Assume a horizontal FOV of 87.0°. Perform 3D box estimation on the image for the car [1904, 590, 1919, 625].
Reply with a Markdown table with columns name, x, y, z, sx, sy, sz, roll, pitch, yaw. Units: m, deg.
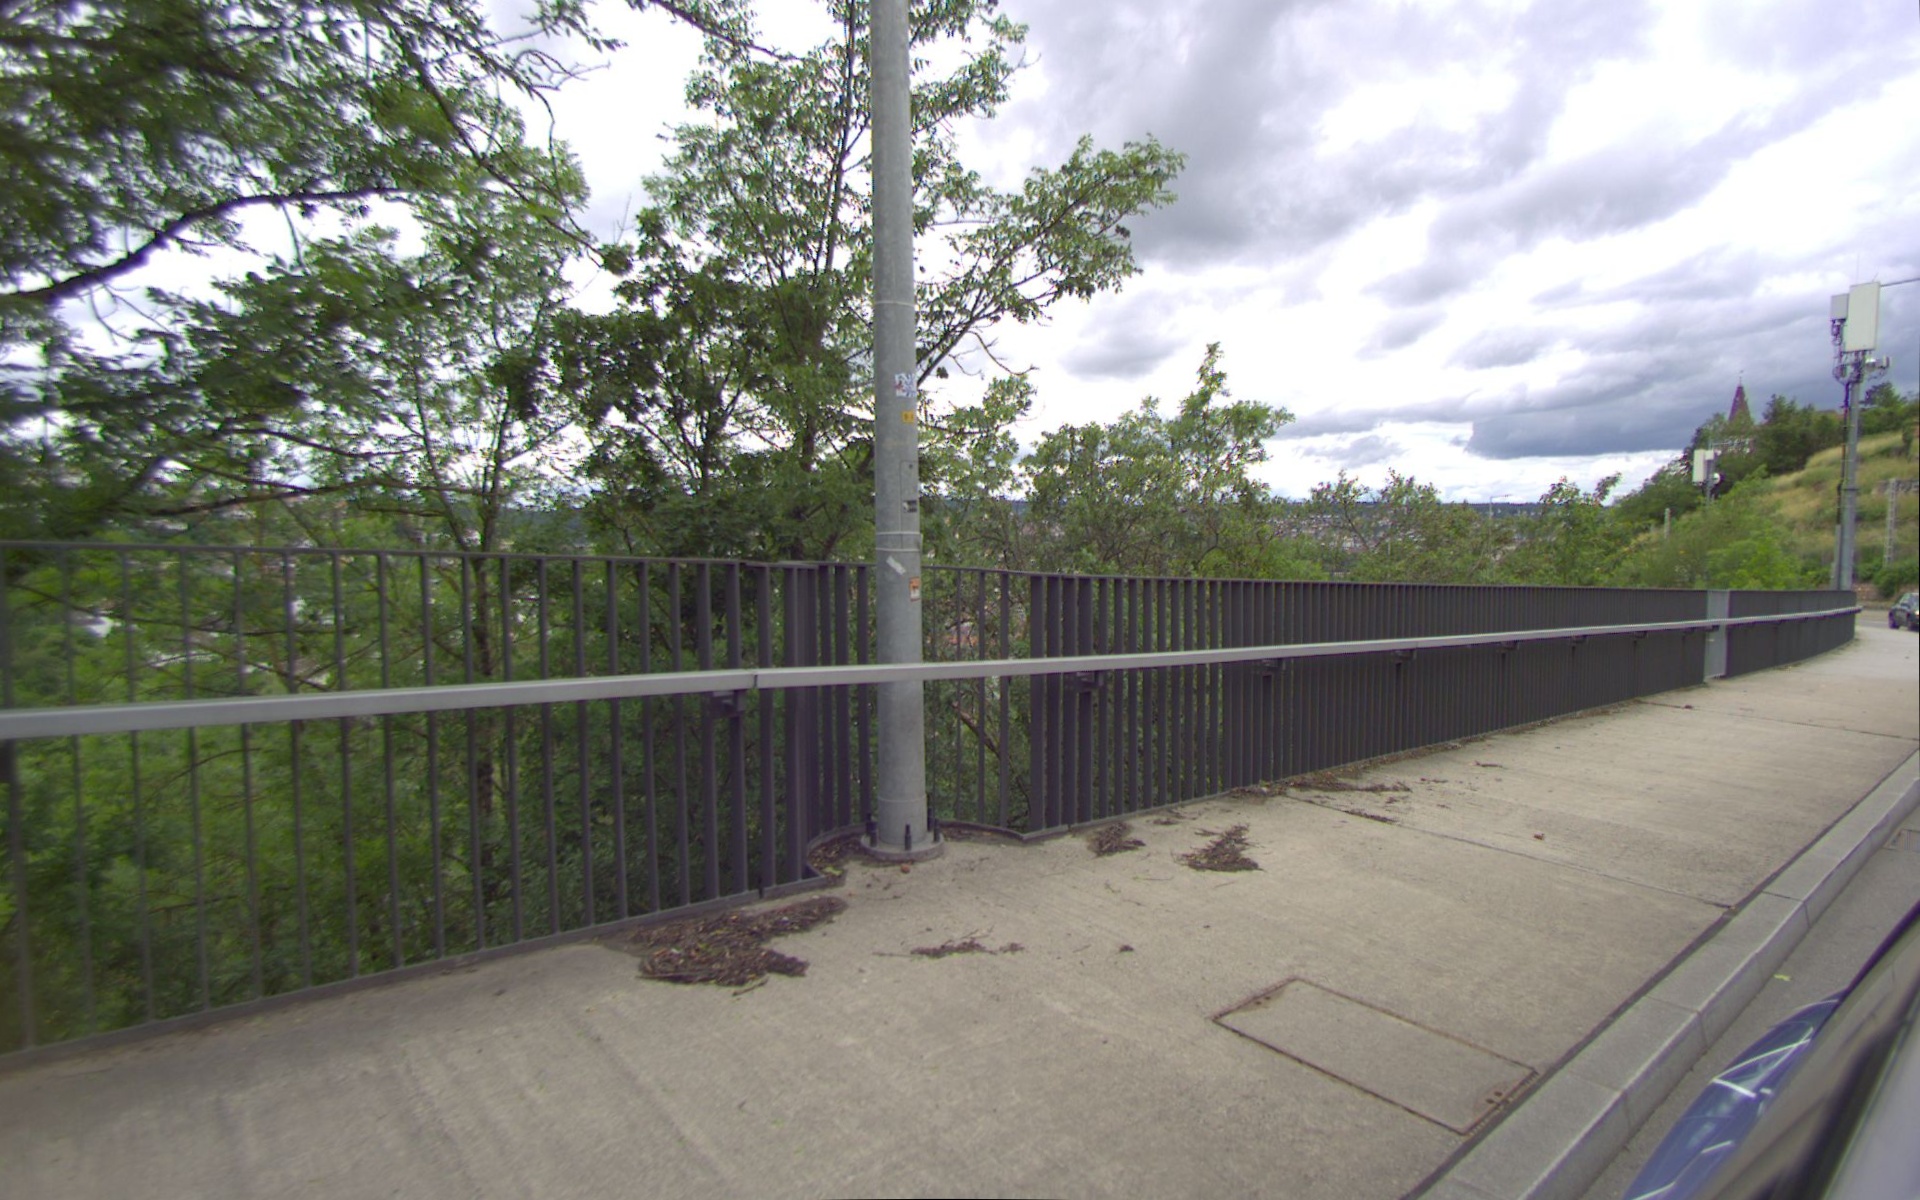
| name | x | y | z | sx | sy | sz | roll | pitch | yaw |
| --- | --- | --- | --- | --- | --- | --- | --- | --- | --- |
| car | 40.155 | 0.290 | 41.317 | 1.633 | 1.406 | 3.954 | 0 | 0 | 32 |
